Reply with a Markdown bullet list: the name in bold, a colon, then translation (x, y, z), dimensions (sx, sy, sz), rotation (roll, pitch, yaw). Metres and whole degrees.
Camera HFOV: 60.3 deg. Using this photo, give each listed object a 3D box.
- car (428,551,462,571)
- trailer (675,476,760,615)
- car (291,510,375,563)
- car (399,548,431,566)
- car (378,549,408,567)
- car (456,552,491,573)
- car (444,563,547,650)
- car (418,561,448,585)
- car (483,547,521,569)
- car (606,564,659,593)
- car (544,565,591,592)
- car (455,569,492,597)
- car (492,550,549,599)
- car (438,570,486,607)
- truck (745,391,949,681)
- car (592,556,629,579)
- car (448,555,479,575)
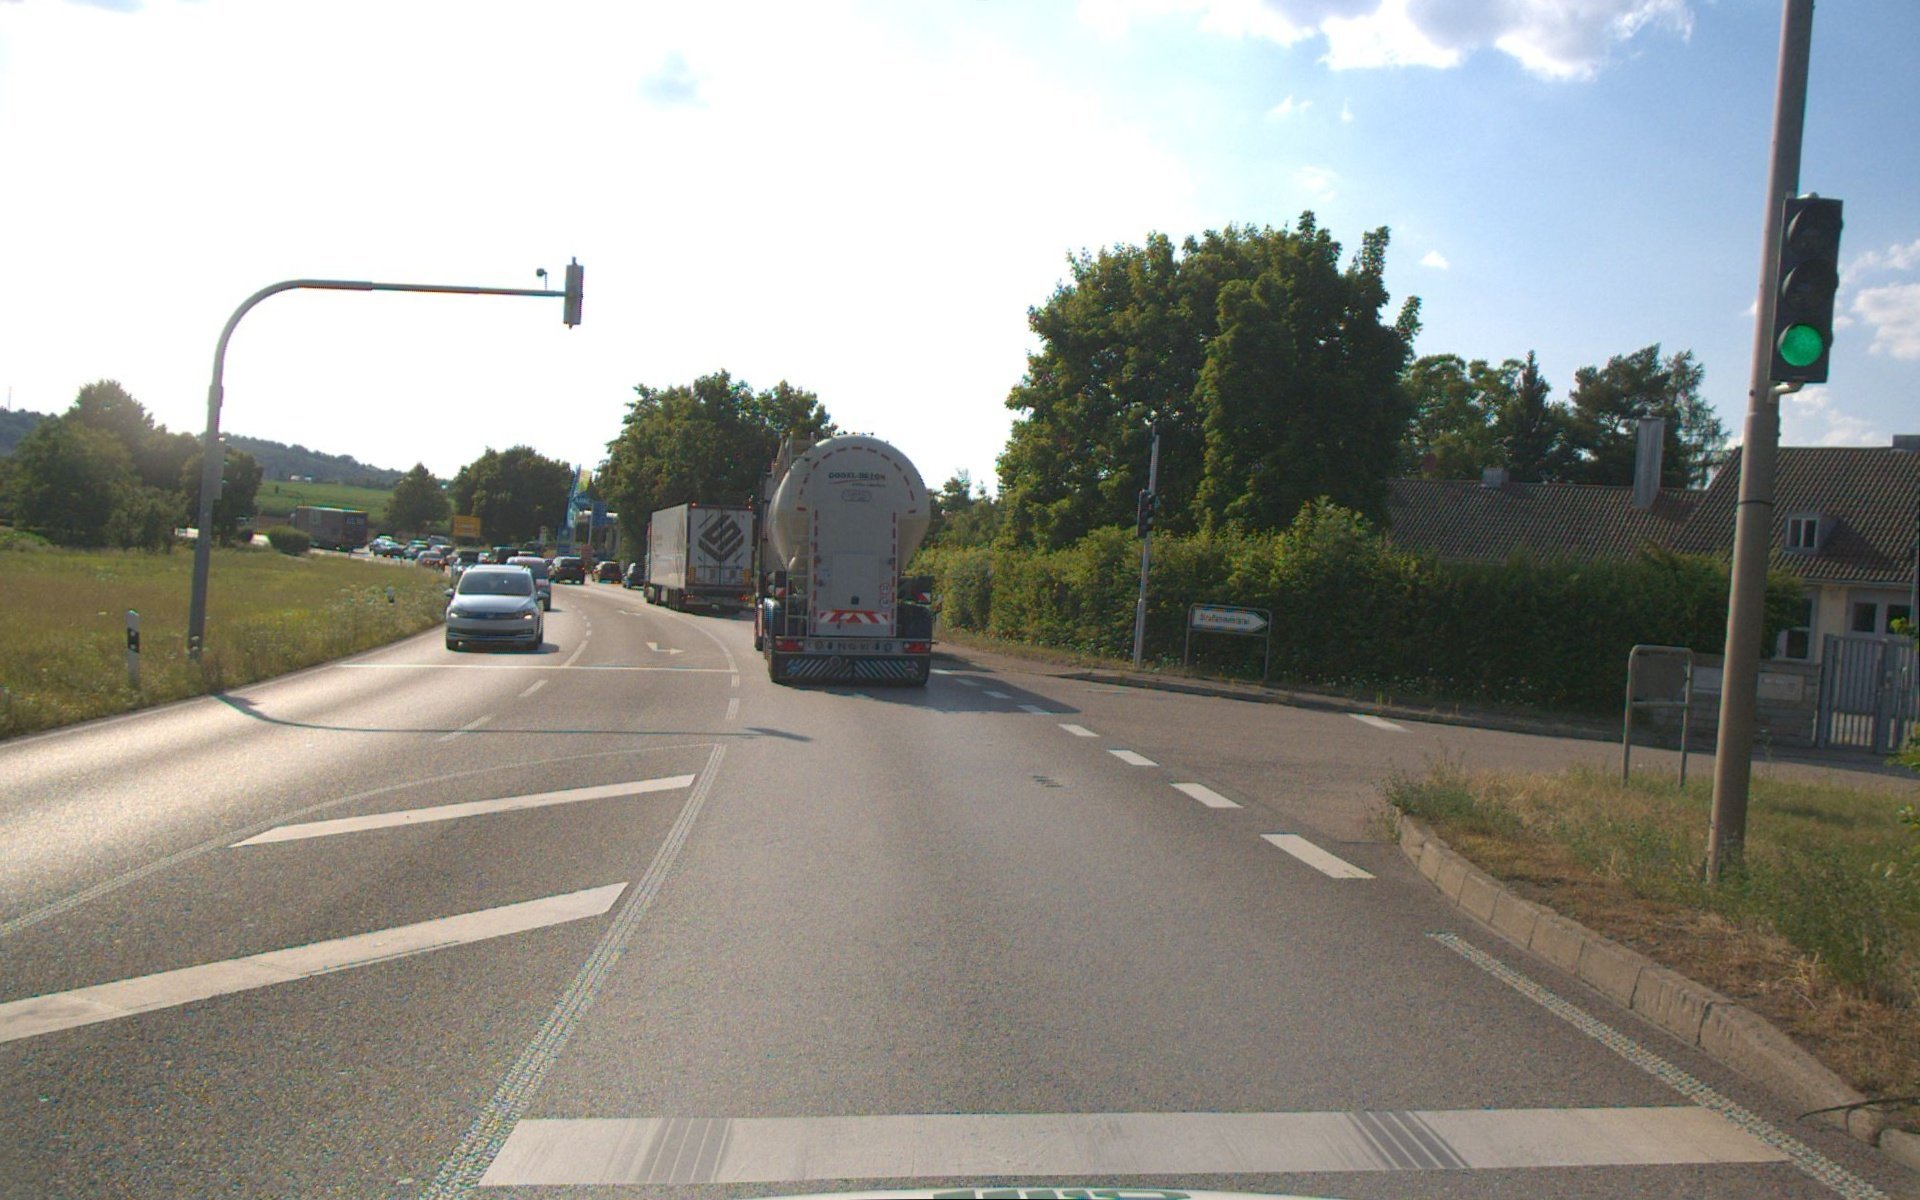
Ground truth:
- **car**: translation (-45.943, -3.476, 147.374), dimensions (1.864, 1.627, 3.955), rotation (2, 0, -33)
- **trailer**: translation (-9.768, -1.967, 65.995), dimensions (2.910, 4.967, 10.264), rotation (2, -1, -9)
- **car**: translation (-66.083, -6.696, 174.027), dimensions (3.523, 5.147, 13.037), rotation (2, 0, -43)
- **car**: translation (-51.012, -4.033, 154.786), dimensions (1.865, 1.627, 3.953), rotation (2, 0, -34)
- **car**: translation (-54.926, -4.067, 160.123), dimensions (1.864, 1.627, 3.955), rotation (2, 0, -33)
- **car**: translation (-40.003, -3.085, 135.972), dimensions (2.059, 1.627, 3.968), rotation (2, 0, -25)
- **car**: translation (-9.482, 0.102, 34.023), dimensions (1.850, 1.627, 3.985), rotation (2, 0, -14)
- **car**: translation (-39.024, -2.017, 122.482), dimensions (1.855, 1.627, 3.975), rotation (2, 0, -21)
- **car**: translation (-35.779, -3.309, 129.196), dimensions (1.863, 1.627, 3.959), rotation (2, 0, -31)
- **car**: translation (-20.311, -1.293, 102.363), dimensions (1.973, 1.685, 3.958), rotation (3, -1, -31)
- **car**: translation (-25.866, -1.444, 108.812), dimensions (1.863, 1.627, 3.959), rotation (2, 0, -31)
- **car**: translation (-29.914, -1.076, 101.652), dimensions (1.855, 1.627, 3.975), rotation (2, 0, -21)
- **car**: translation (-15.987, -0.928, 60.064), dimensions (1.851, 1.627, 3.983), rotation (2, 0, -16)
- **car**: translation (-23.573, -0.560, 78.248), dimensions (1.855, 1.627, 3.975), rotation (2, 0, -21)
- **truck**: translation (-2.382, -0.872, 30.736), dimensions (2.919, 4.248, 11.643), rotation (2, -1, -7)
- **car**: translation (-24.697, -2.289, 116.834), dimensions (1.662, 1.493, 3.968), rotation (3, -1, -25)
- **car**: translation (-42.770, -2.988, 142.468), dimensions (1.860, 1.627, 3.964), rotation (2, 0, -28)
